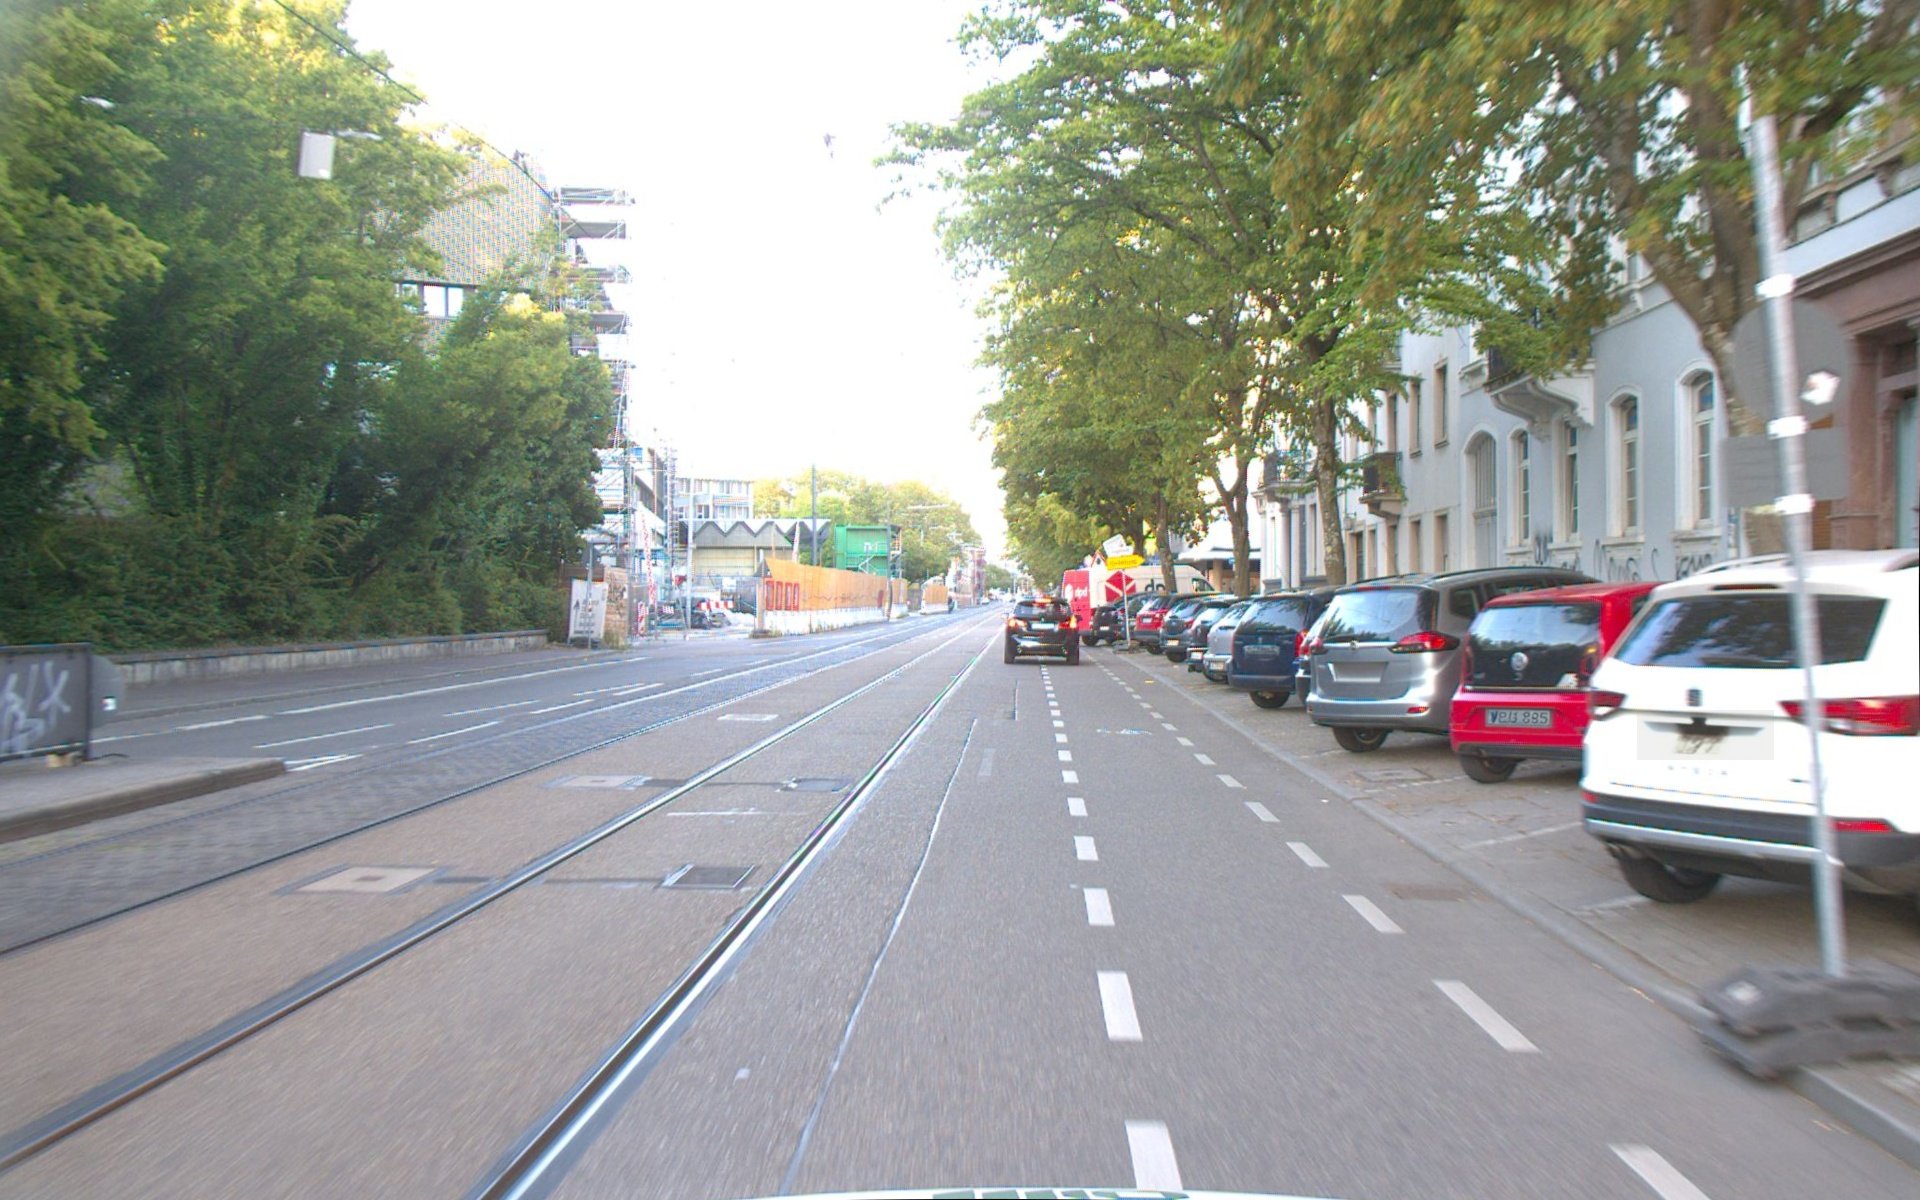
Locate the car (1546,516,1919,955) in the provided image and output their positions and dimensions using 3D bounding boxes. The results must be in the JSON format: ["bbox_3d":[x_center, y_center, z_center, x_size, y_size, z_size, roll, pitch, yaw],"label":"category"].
[{"bbox_3d":[4.852,0.424,7.918,3.898,1.655,1.658,-3,1,-29],"label":"car"}]

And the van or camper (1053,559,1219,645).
[{"bbox_3d":[6.035,0.049,56.413,5.481,2.574,2.063,-4,0,-33],"label":"van or camper"}]

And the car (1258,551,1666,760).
[{"bbox_3d":[4.988,0.481,16.241,3.915,1.697,1.876,-3,0,-38],"label":"car"}]

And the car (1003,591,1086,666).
[{"bbox_3d":[1.988,0.654,39.698,1.843,1.648,4.001,2,0,2],"label":"car"}]

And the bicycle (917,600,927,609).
[{"bbox_3d":[-3.638,0.424,159.235,0.928,0.864,2.696,0,0,0],"label":"bicycle"}]

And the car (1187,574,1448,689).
[{"bbox_3d":[5.764,0.479,26.574,3.903,1.631,1.820,-2,-1,-32],"label":"car"}]

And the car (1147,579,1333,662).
[{"bbox_3d":[6.471,0.465,38.131,3.901,1.631,1.822,-4,0,-30],"label":"car"}]

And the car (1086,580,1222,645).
[{"bbox_3d":[6.189,0.412,52.751,3.892,1.796,1.826,-4,0,-25],"label":"car"}]

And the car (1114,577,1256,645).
[{"bbox_3d":[6.924,0.335,50.897,3.892,1.796,1.826,-4,0,-25],"label":"car"}]

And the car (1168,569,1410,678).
[{"bbox_3d":[5.795,0.394,29.060,3.901,1.631,1.822,-4,0,-30],"label":"car"}]

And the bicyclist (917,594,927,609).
[{"bbox_3d":[-3.629,0.154,158.454,0.925,1.369,1.111,-1,0,-1],"label":"bicyclist"}]

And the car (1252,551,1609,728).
[{"bbox_3d":[5.552,0.422,19.431,3.902,1.631,1.729,-5,1,-30],"label":"car"}]

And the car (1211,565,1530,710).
[{"bbox_3d":[5.478,0.468,21.993,3.901,1.631,1.822,-3,0,-30],"label":"car"}]

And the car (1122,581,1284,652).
[{"bbox_3d":[6.557,0.439,44.644,3.892,1.631,1.826,-4,0,-25],"label":"car"}]

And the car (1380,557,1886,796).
[{"bbox_3d":[5.407,0.508,13.166,3.906,1.503,1.810,-3,1,-33],"label":"car"}]
